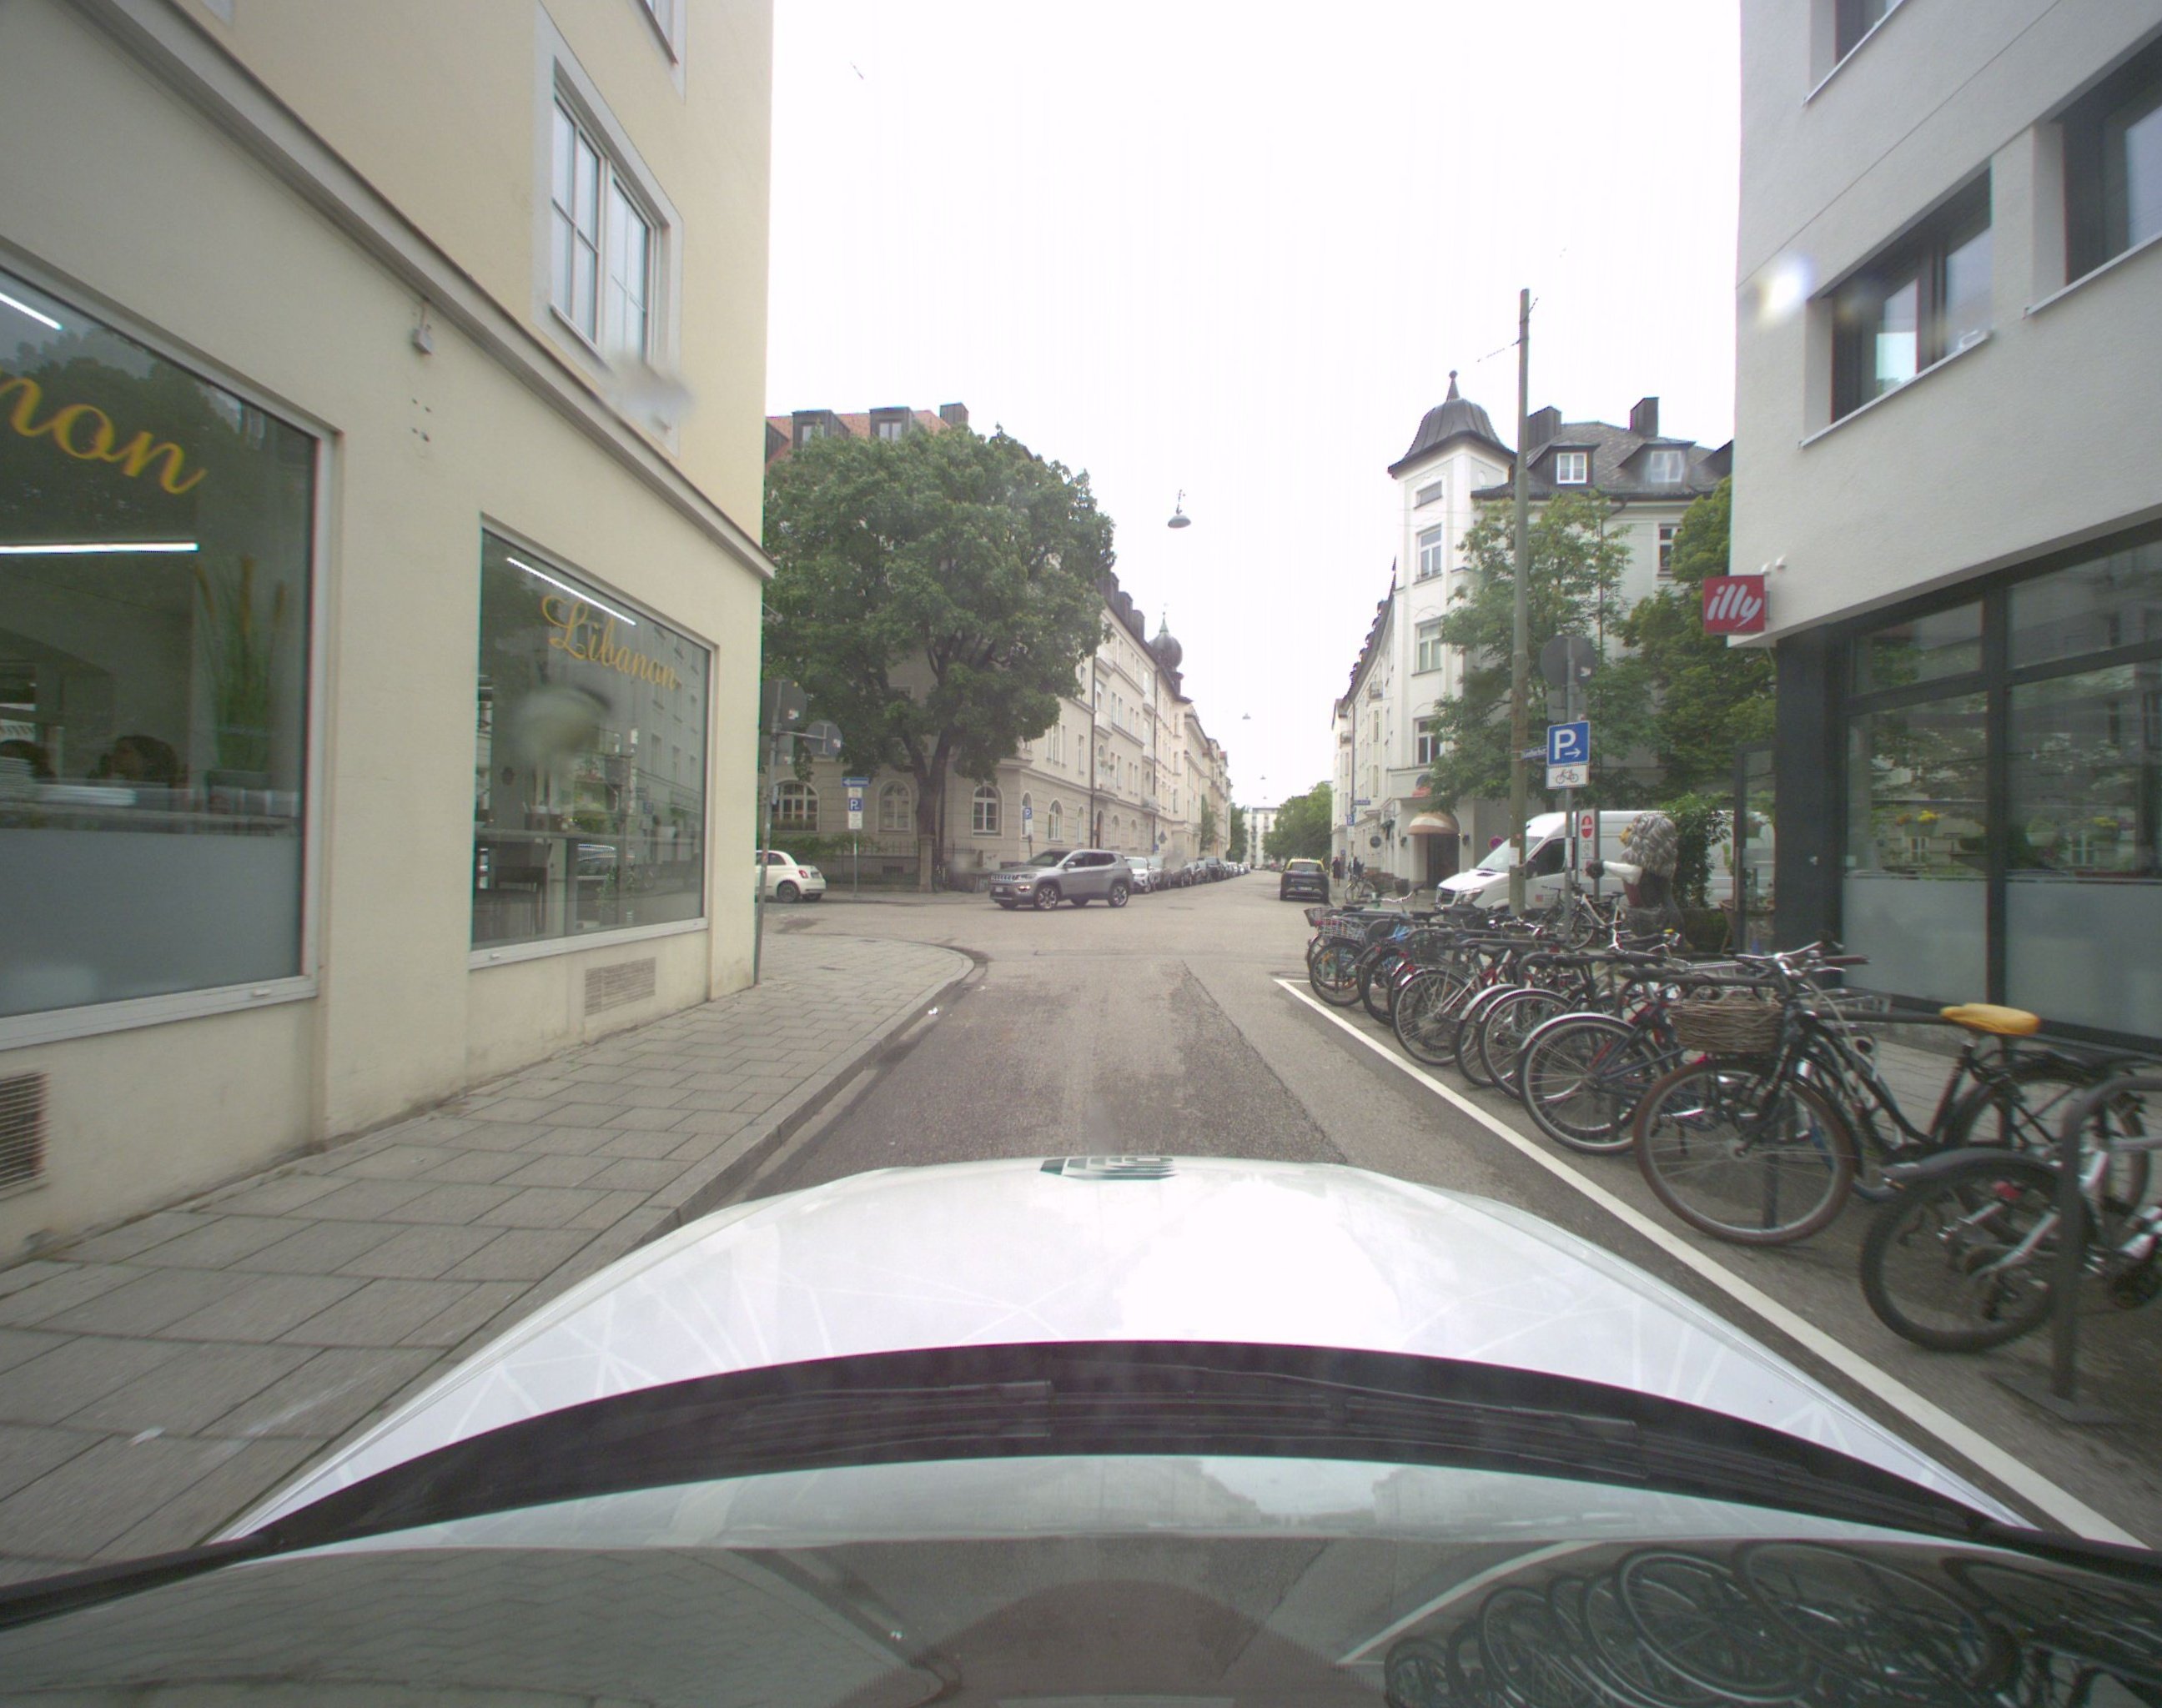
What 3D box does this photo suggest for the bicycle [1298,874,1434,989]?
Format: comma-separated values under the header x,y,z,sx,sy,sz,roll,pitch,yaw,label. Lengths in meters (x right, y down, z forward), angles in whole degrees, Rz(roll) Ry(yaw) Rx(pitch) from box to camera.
x,y,z,sx,sy,sz,roll,pitch,yaw,label
3.390,0.910,9.739,1.451,1.285,0.445,1,0,2,bicycle

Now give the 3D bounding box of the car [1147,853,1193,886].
x,y,z,sx,sy,sz,roll,pitch,yaw,label
4.865,0.801,44.101,1.980,1.676,4.303,1,0,13,car

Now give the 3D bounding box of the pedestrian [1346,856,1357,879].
x,y,z,sx,sy,sz,roll,pitch,yaw,label
21.772,1.094,65.456,0.771,1.851,0.864,1,0,22,pedestrian

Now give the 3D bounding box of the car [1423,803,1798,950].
x,y,z,sx,sy,sz,roll,pitch,yaw,label
10.095,0.376,15.984,5.864,2.591,2.063,1,1,6,car

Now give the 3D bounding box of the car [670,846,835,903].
x,y,z,sx,sy,sz,roll,pitch,yaw,label
-9.305,0.564,23.198,3.966,1.449,1.688,1,0,6,car

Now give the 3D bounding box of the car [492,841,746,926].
x,y,z,sx,sy,sz,roll,pitch,yaw,label
-9.688,0.567,17.332,4.315,1.515,1.906,1,3,3,car

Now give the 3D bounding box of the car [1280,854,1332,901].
x,y,z,sx,sy,sz,roll,pitch,yaw,label
9.000,0.895,32.690,1.807,1.636,4.305,3,0,15,car

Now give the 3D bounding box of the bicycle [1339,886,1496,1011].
x,y,z,sx,sy,sz,roll,pitch,yaw,label
3.408,0.955,8.278,1.449,1.207,0.394,1,0,-7,bicycle

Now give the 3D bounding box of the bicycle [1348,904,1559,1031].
x,y,z,sx,sy,sz,roll,pitch,yaw,label
3.401,1.031,7.493,1.736,1.079,0.452,1,1,-3,bicycle

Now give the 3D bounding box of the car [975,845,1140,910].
x,y,z,sx,sy,sz,roll,pitch,yaw,label
-0.554,0.593,22.226,4.333,1.607,1.940,1,0,-44,car

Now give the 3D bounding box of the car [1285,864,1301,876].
x,y,z,sx,sy,sz,roll,pitch,yaw,label
25.927,1.949,99.680,1.718,1.417,3.865,1,0,12,car

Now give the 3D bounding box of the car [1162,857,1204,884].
x,y,z,sx,sy,sz,roll,pitch,yaw,label
6.327,1.003,50.221,1.911,1.546,4.017,1,0,16,car

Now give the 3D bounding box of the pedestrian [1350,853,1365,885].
x,y,z,sx,sy,sz,roll,pitch,yaw,label
16.233,0.899,47.848,0.772,1.851,1.027,1,0,15,pedestrian

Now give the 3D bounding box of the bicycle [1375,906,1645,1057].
x,y,z,sx,sy,sz,roll,pitch,yaw,label
3.267,0.963,6.256,1.869,1.079,0.408,1,1,-3,bicycle

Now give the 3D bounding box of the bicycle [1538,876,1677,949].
x,y,z,sx,sy,sz,roll,pitch,yaw,label
8.769,0.961,13.611,1.892,1.127,0.593,1,0,6,bicycle

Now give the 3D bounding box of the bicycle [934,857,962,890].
x,y,z,sx,sy,sz,roll,pitch,yaw,label
-4.642,0.666,28.486,0.491,1.052,1.830,1,2,7,bicycle

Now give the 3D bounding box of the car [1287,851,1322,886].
x,y,z,sx,sy,sz,roll,pitch,yaw,label
13.202,0.836,48.119,1.807,1.923,4.200,3,0,15,car

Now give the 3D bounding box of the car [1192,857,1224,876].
x,y,z,sx,sy,sz,roll,pitch,yaw,label
9.473,0.934,60.401,1.892,1.329,4.016,1,0,16,car

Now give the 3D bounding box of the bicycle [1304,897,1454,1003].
x,y,z,sx,sy,sz,roll,pitch,yaw,label
3.179,1.018,8.731,1.449,1.069,0.462,1,0,-7,bicycle

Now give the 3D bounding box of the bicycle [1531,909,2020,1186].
x,y,z,sx,sy,sz,roll,pitch,yaw,label
3.229,0.870,3.874,1.888,1.170,0.565,0,0,-2,bicycle

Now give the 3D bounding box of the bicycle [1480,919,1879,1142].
x,y,z,sx,sy,sz,roll,pitch,yaw,label
3.203,0.932,4.416,1.869,1.095,0.439,1,1,-3,bicycle

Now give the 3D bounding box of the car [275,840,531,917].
x,y,z,sx,sy,sz,roll,pitch,yaw,label
-14.714,0.495,17.820,4.233,1.508,1.685,1,2,2,car

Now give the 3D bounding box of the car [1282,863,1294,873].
x,y,z,sx,sy,sz,roll,pitch,yaw,label
36.650,2.459,144.083,1.937,1.652,4.013,-1,-1,12,car

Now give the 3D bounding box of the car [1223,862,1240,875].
x,y,z,sx,sy,sz,roll,pitch,yaw,label
16.504,1.574,89.025,1.722,1.420,4.013,1,0,12,car

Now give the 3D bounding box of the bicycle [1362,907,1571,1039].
x,y,z,sx,sy,sz,roll,pitch,yaw,label
3.335,1.027,7.080,1.670,1.079,0.336,1,1,-3,bicycle

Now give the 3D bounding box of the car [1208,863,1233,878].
x,y,z,sx,sy,sz,roll,pitch,yaw,label
12.341,1.411,71.921,1.893,1.222,4.015,1,0,14,car

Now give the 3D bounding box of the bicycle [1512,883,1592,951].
x,y,z,sx,sy,sz,roll,pitch,yaw,label
8.224,1.095,14.239,1.171,1.127,0.340,1,-1,7,bicycle

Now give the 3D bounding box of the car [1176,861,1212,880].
x,y,z,sx,sy,sz,roll,pitch,yaw,label
7.782,1.126,55.860,1.892,1.222,4.016,1,0,16,car

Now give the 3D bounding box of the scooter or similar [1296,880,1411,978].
x,y,z,sx,sy,sz,roll,pitch,yaw,label
3.510,0.954,10.534,1.347,1.210,0.418,1,-1,2,scooter or similar

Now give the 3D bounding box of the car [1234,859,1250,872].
x,y,z,sx,sy,sz,roll,pitch,yaw,label
21.703,1.546,109.533,1.980,1.574,4.013,1,0,12,car

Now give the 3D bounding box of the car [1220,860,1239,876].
x,y,z,sx,sy,sz,roll,pitch,yaw,label
15.212,1.412,83.185,1.808,1.574,4.013,1,0,12,car

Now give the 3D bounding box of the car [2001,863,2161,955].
x,y,z,sx,sy,sz,roll,pitch,yaw,label
20.470,1.019,15.227,4.218,1.568,1.815,1,1,5,car

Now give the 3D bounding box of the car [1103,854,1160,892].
x,y,z,sx,sy,sz,roll,pitch,yaw,label
2.216,0.776,34.757,1.981,1.473,4.230,1,0,9,car

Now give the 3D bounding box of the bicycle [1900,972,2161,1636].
x,y,z,sx,sy,sz,roll,pitch,yaw,label
3.015,0.918,1.833,1.868,1.204,0.488,1,1,-1,bicycle

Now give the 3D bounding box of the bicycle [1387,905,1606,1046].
x,y,z,sx,sy,sz,roll,pitch,yaw,label
3.395,0.986,6.694,1.608,1.079,0.377,1,1,-3,bicycle

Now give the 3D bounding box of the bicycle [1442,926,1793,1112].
x,y,z,sx,sy,sz,roll,pitch,yaw,label
3.316,1.005,5.118,1.869,1.052,0.564,1,-2,-3,bicycle

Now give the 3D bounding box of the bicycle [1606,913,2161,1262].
x,y,z,sx,sy,sz,roll,pitch,yaw,label
3.204,0.864,3.246,1.868,1.204,0.579,0,0,-1,bicycle

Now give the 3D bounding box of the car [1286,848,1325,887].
x,y,z,sx,sy,sz,roll,pitch,yaw,label
11.857,0.699,43.027,1.807,1.871,4.305,3,0,15,car

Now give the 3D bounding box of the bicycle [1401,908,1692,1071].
x,y,z,sx,sy,sz,roll,pitch,yaw,label
3.294,0.951,5.817,1.869,1.079,0.402,1,1,-3,bicycle

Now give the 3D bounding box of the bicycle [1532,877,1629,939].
x,y,z,sx,sy,sz,roll,pitch,yaw,label
8.956,0.966,14.616,1.497,1.071,0.370,1,-1,0,bicycle

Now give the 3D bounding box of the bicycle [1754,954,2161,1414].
x,y,z,sx,sy,sz,roll,pitch,yaw,label
3.254,0.962,2.512,1.868,1.157,0.565,2,1,-1,bicycle

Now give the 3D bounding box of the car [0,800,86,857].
x,y,z,sx,sy,sz,roll,pitch,yaw,label
-33.239,-0.769,24.796,3.969,1.647,1.710,1,0,4,car

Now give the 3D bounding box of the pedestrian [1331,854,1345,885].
x,y,z,sx,sy,sz,roll,pitch,yaw,label
15.303,0.912,48.520,0.772,1.851,1.027,1,0,15,pedestrian

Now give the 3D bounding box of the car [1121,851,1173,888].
x,y,z,sx,sy,sz,roll,pitch,yaw,label
3.235,0.720,39.293,1.980,1.676,4.025,1,0,11,car

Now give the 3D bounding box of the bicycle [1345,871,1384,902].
x,y,z,sx,sy,sz,roll,pitch,yaw,label
9.941,1.139,28.615,0.539,0.999,1.750,-2,0,-8,bicycle

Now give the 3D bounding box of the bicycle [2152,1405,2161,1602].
x,y,z,sx,sy,sz,roll,pitch,yaw,label
2.978,0.888,1.312,1.868,1.108,0.488,2,1,-1,bicycle

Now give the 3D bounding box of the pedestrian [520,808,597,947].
x,y,z,sx,sy,sz,roll,pitch,yaw,label
-6.360,0.286,9.936,0.604,1.642,0.536,1,-1,-11,pedestrian
